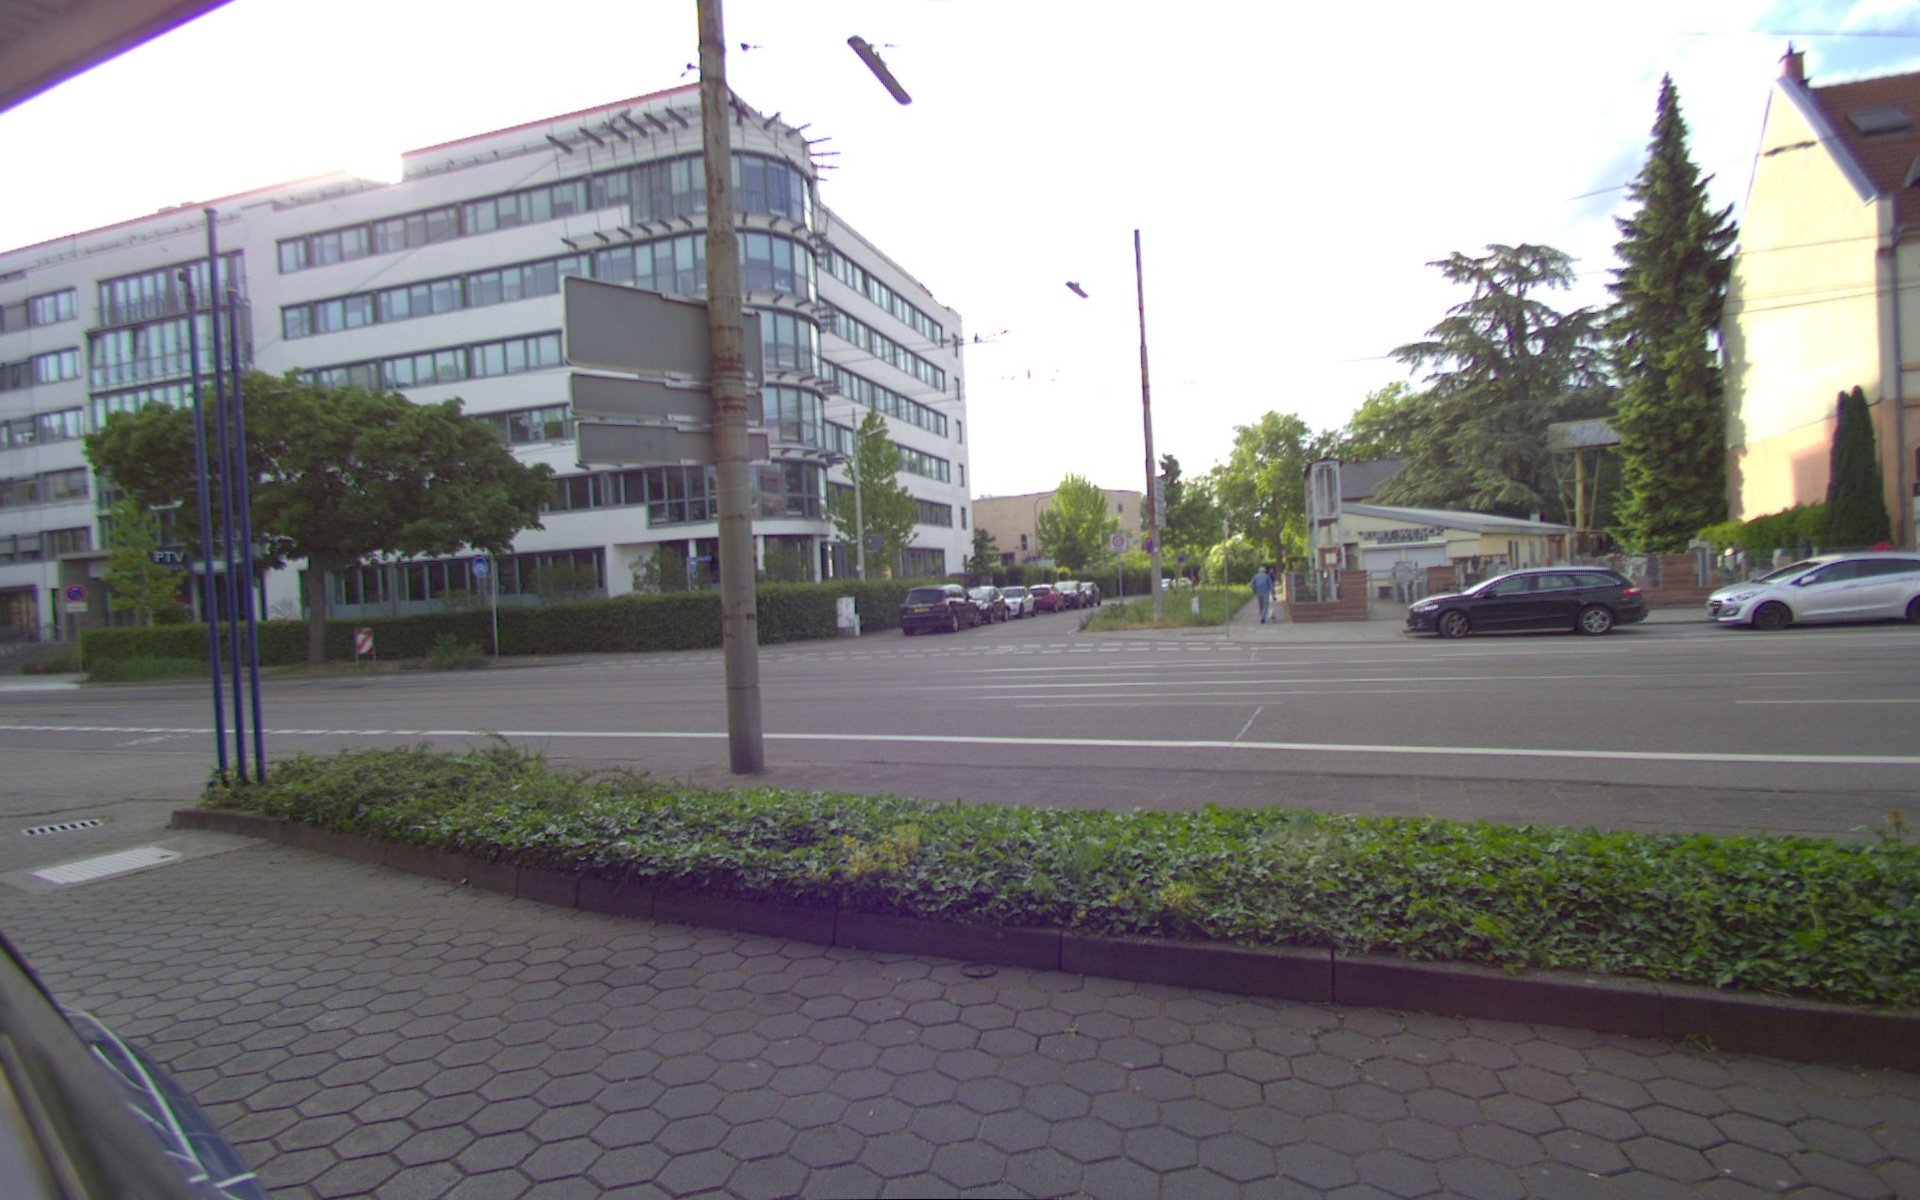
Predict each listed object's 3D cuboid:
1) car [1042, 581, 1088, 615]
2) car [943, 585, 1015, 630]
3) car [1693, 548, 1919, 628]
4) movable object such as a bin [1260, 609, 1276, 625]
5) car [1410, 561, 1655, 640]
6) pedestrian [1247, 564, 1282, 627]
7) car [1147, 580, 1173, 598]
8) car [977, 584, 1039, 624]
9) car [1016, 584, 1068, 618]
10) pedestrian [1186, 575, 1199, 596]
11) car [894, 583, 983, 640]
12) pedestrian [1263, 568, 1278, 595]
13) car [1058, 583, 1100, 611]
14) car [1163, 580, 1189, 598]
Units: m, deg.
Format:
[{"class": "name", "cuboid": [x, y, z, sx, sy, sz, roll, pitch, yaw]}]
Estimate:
[{"class": "car", "cuboid": [6.033, -0.139, 57.801, 1.807, 1.704, 4.392, -4, 0, 16]}, {"class": "car", "cuboid": [0.833, 0.269, 40.978, 1.807, 1.589, 4.175, -4, 0, 16]}, {"class": "car", "cuboid": [18.409, -0.266, 21.394, 4.349, 1.493, 1.732, -3, 1, 22]}, {"class": "movable object such as a bin", "cuboid": [9.207, 0.495, 30.280, 0.363, 0.397, 0.661, -3, 4, 10]}, {"class": "car", "cuboid": [13.016, 0.009, 23.364, 4.632, 1.533, 1.842, -3, 2, 22]}, {"class": "pedestrian", "cuboid": [8.965, -0.143, 29.749, 0.903, 1.711, 0.920, -2, 6, 19]}, {"class": "car", "cuboid": [19.959, -1.141, 100.904, 1.811, 1.654, 4.044, -4, 0, 22]}, {"class": "car", "cuboid": [2.226, 0.150, 45.682, 1.807, 1.589, 4.175, -4, 0, 16]}, {"class": "car", "cuboid": [4.302, 0.020, 52.404, 1.807, 1.589, 4.175, -4, 0, 16]}, {"class": "pedestrian", "cuboid": [21.315, -1.354, 92.772, 0.966, 1.896, 1.055, -1, 0, 20]}, {"class": "car", "cuboid": [-0.684, 0.357, 35.563, 1.807, 1.701, 4.370, -4, 1, 16]}, {"class": "pedestrian", "cuboid": [22.576, -1.333, 73.588, 0.965, 1.896, 1.056, -1, 0, 17]}, {"class": "car", "cuboid": [7.388, -0.216, 62.567, 1.807, 1.585, 4.052, -4, 0, 16]}, {"class": "car", "cuboid": [22.836, -1.162, 106.851, 1.813, 1.654, 4.040, -4, 0, 25]}]
